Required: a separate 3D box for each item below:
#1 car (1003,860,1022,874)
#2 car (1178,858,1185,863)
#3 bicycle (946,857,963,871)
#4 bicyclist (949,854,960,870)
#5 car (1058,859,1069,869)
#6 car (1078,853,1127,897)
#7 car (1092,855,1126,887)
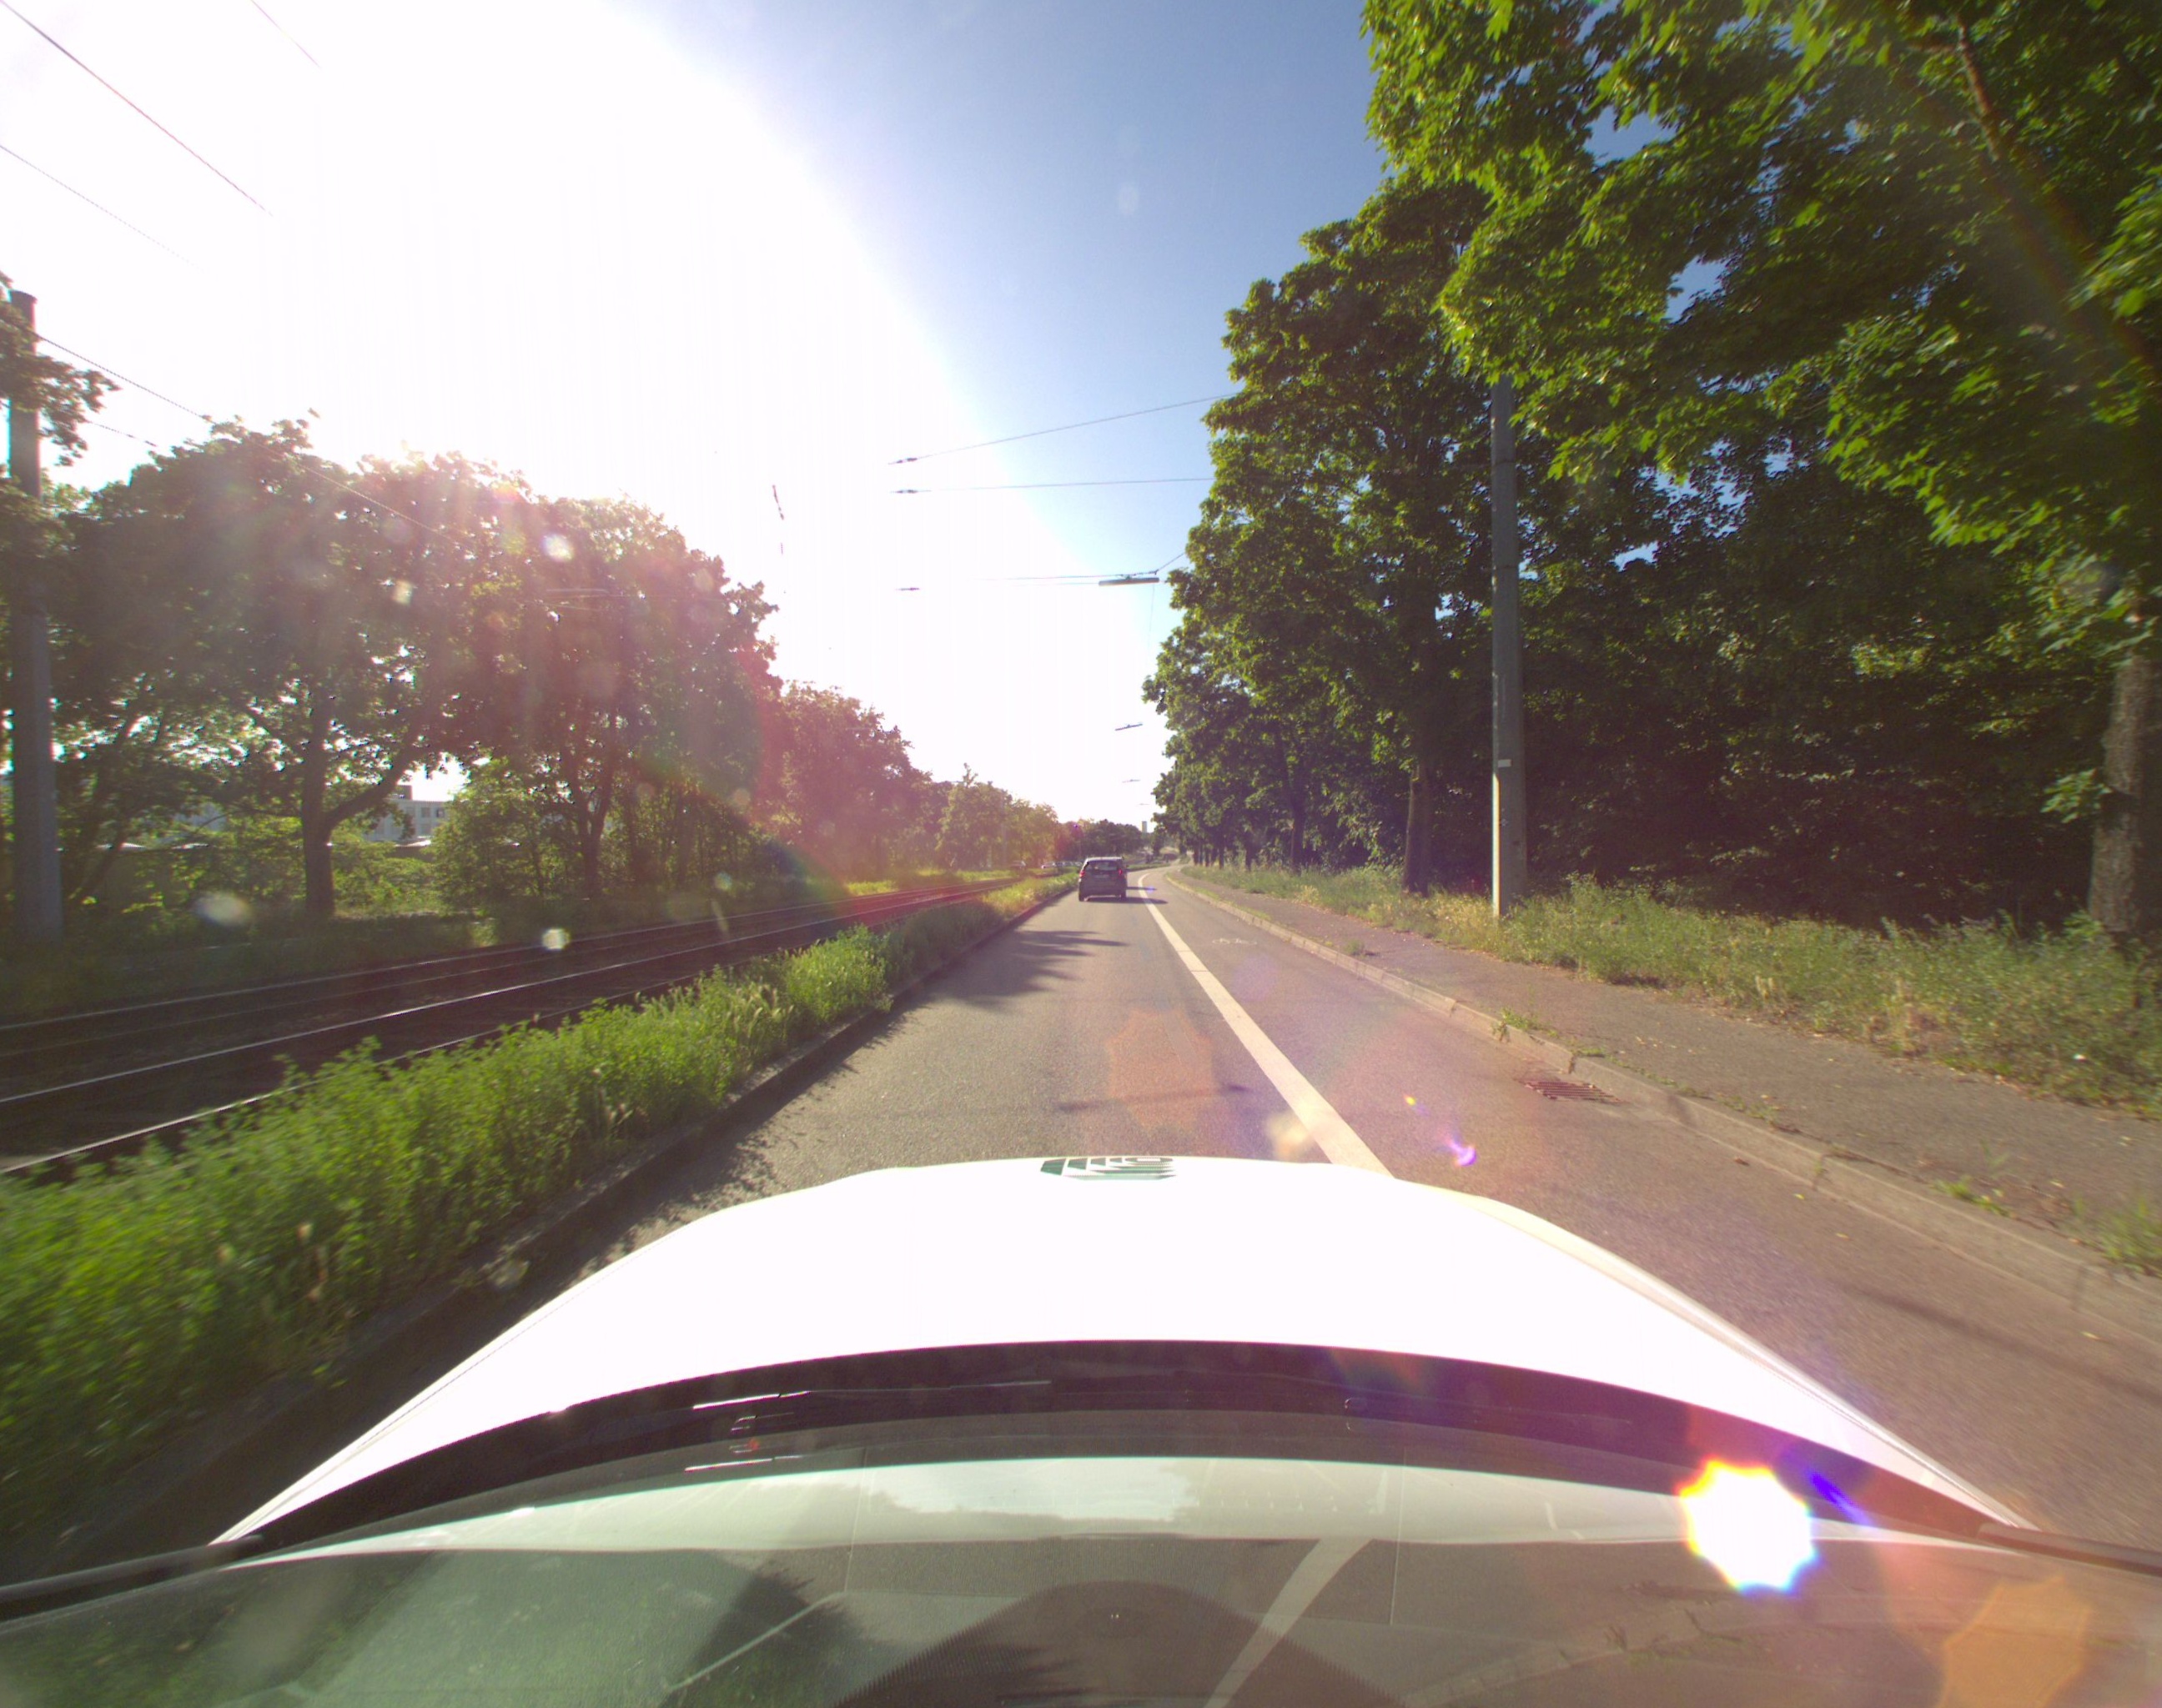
[{"bbox_3d":[-9.651,1.819,115.259,1.984,1.875,4.006,0,2,4],"label":"car"},{"bbox_3d":[28.942,1.781,234.279,1.643,1.313,3.826,1,2,14],"label":"car"},{"bbox_3d":[-11.819,0.921,76.178,0.785,1.195,3.173,0,2,4],"label":"bicycle"},{"bbox_3d":[-11.813,0.752,76.303,0.786,1.489,1.110,0,2,4],"label":"bicyclist"},{"bbox_3d":[-3.215,1.760,148.660,1.616,1.551,4.006,0,2,4],"label":"car"},{"bbox_3d":[0.803,0.753,29.688,1.663,1.508,3.812,0,-1,2],"label":"car"},{"bbox_3d":[1.458,0.842,42.576,1.648,1.507,3.813,0,1,2],"label":"car"}]
